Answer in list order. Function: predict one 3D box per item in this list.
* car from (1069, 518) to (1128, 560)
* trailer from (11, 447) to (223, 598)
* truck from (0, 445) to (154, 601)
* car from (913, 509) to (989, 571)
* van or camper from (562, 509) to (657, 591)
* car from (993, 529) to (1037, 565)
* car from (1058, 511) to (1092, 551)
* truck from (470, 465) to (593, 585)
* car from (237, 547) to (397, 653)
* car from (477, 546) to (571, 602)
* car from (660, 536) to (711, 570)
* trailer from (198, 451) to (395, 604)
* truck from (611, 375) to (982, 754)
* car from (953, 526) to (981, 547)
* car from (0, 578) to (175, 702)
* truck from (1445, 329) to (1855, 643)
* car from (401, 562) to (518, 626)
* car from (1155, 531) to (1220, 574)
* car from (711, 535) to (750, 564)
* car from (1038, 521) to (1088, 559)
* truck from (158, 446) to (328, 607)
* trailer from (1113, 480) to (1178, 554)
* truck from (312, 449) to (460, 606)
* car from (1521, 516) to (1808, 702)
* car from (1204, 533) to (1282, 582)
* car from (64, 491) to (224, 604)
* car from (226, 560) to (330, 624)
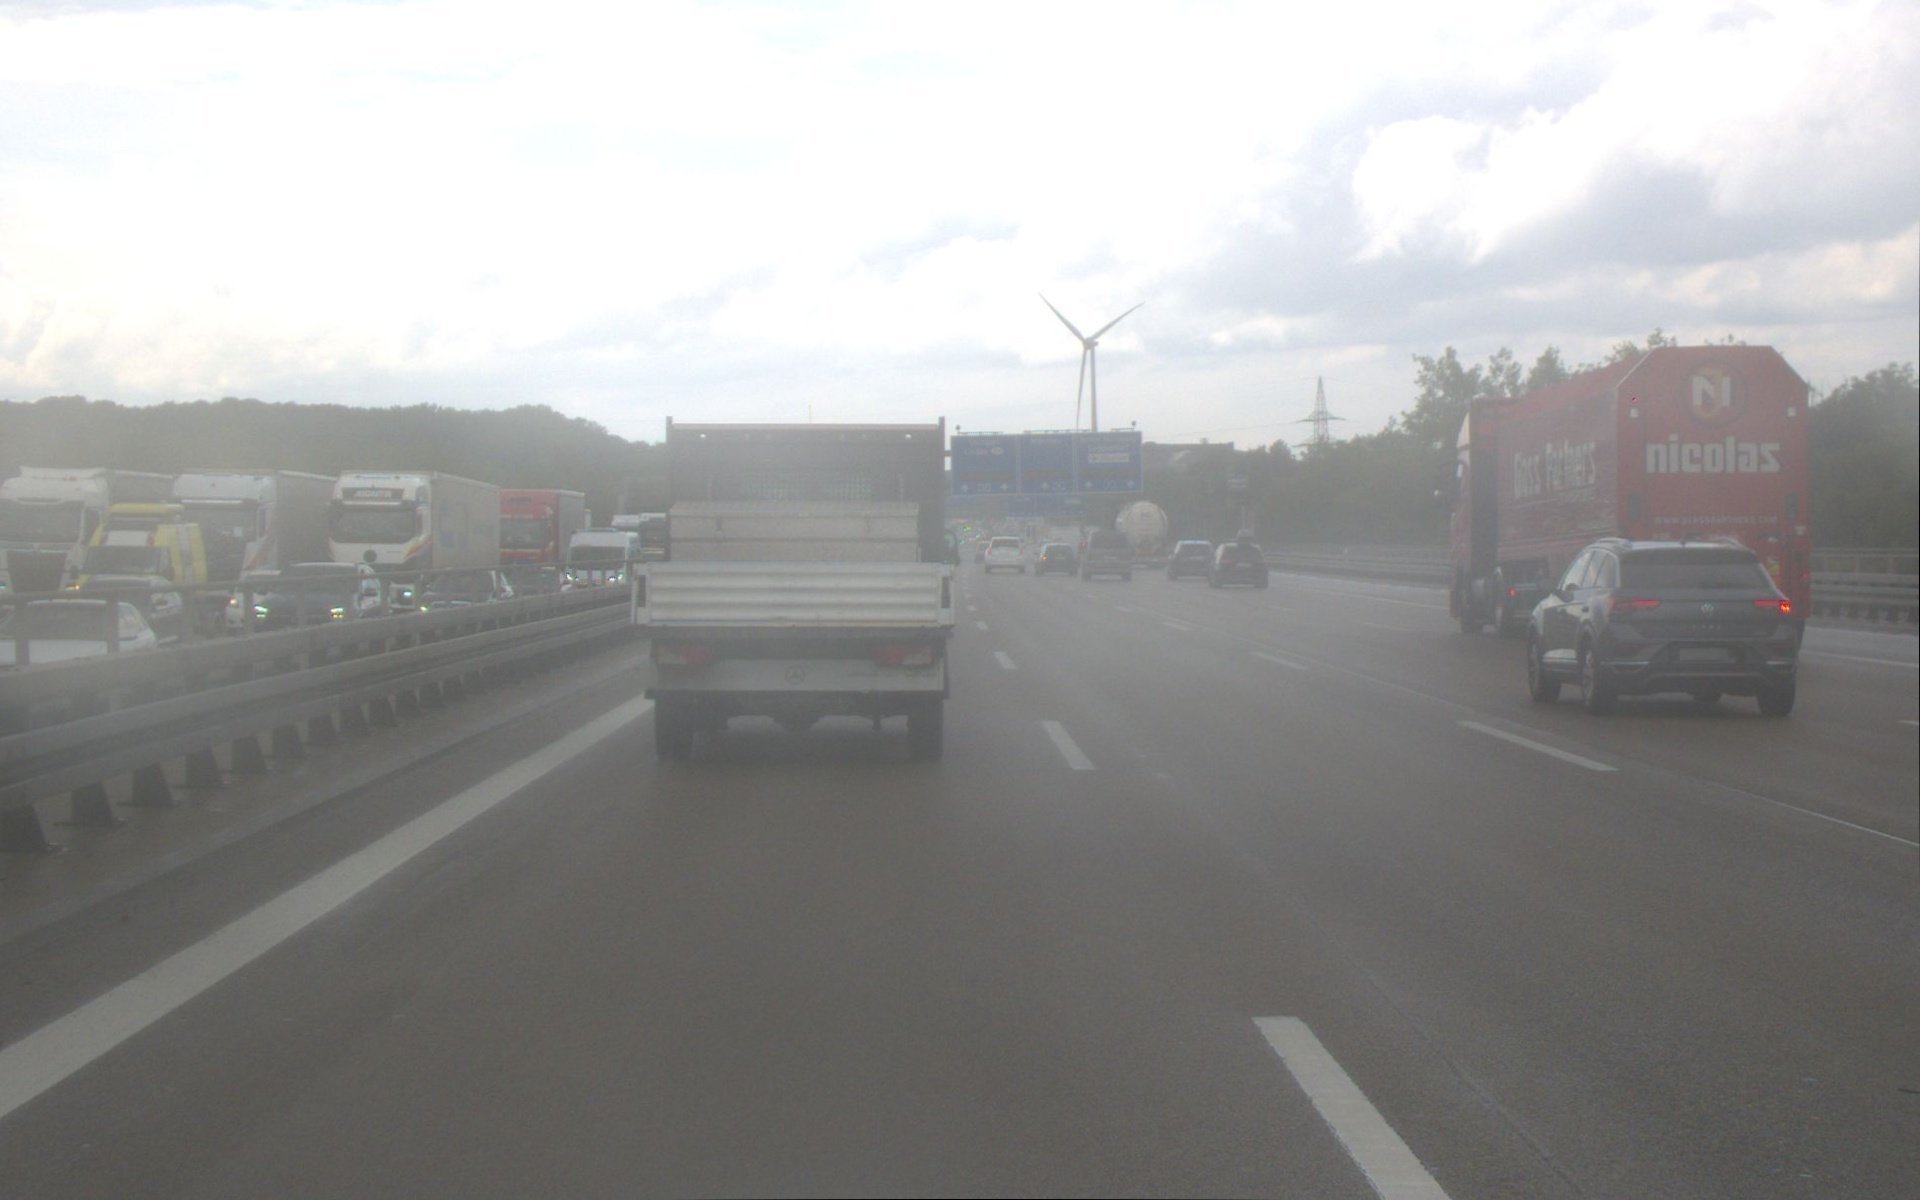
[{"bbox_3d":[5.595,-2.486,139.248,2.097,1.693,4.001,0,1,-2],"label":"car"},{"bbox_3d":[-23.777,-2.201,97.723,2.758,3.980,12.307,-1,1,1],"label":"trailer"},{"bbox_3d":[-23.861,-2.064,92.192,2.759,3.980,6.577,-1,1,1],"label":"truck"},{"bbox_3d":[-0.220,-1.681,96.098,2.045,1.693,4.000,0,1,1],"label":"car"},{"bbox_3d":[-11.121,-1.604,109.580,2.278,2.487,7.303,-1,1,-1],"label":"van or camper"},{"bbox_3d":[2.660,-2.596,167.024,1.972,1.693,4.001,0,1,-2],"label":"car"},{"bbox_3d":[7.231,-4.370,216.541,2.045,2.489,4.000,0,1,1],"label":"car"},{"bbox_3d":[-15.641,-2.743,126.440,2.984,4.134,12.524,-1,1,-1],"label":"truck"},{"bbox_3d":[-11.551,-0.043,62.113,1.913,1.760,5.332,-1,1,-1],"label":"car"},{"bbox_3d":[-11.846,-0.720,93.674,1.922,1.414,5.165,-1,1,-1],"label":"car"},{"bbox_3d":[-12.057,-2.067,151.310,1.832,1.447,4.000,-1,1,1],"label":"car"},{"bbox_3d":[-19.140,-2.110,100.130,2.880,4.131,13.029,-1,1,1],"label":"trailer"},{"bbox_3d":[-1.173,-0.317,25.635,2.353,2.400,7.359,0,1,-2],"label":"truck"},{"bbox_3d":[0.481,-4.553,245.539,1.812,1.441,4.001,-1,1,-2],"label":"car"},{"bbox_3d":[-11.152,0.459,42.891,1.762,1.378,4.821,-1,1,-2],"label":"car"},{"bbox_3d":[9.909,-1.655,51.686,3.152,3.989,15.637,0,1,1],"label":"truck"},{"bbox_3d":[-11.801,-0.170,81.405,2.014,1.382,5.460,-1,1,-1],"label":"car"},{"bbox_3d":[9.282,-1.947,140.704,2.045,1.693,5.008,0,1,-4],"label":"car"},{"bbox_3d":[-11.484,-2.545,172.341,1.573,1.349,4.384,-1,1,1],"label":"car"},{"bbox_3d":[4.667,-2.713,155.778,2.045,1.693,4.001,0,1,-1],"label":"car"},{"bbox_3d":[-19.302,-1.994,92.942,2.904,4.133,7.102,-1,1,1],"label":"truck"},{"bbox_3d":[10.679,-4.794,198.839,3.333,4.161,11.838,0,1,1],"label":"trailer"},{"bbox_3d":[-15.986,-2.024,96.240,2.880,4.166,7.558,-1,1,-1],"label":"truck"},{"bbox_3d":[6.209,0.046,30.694,1.792,1.557,3.722,0,1,0],"label":"car"},{"bbox_3d":[9.669,-1.461,117.801,2.105,1.600,5.066,0,1,-2],"label":"car"},{"bbox_3d":[-19.033,-1.254,80.544,2.156,2.496,6.773,-1,1,-1],"label":"car"},{"bbox_3d":[-15.679,-0.205,79.180,1.601,1.382,4.100,-1,1,-1],"label":"car"}]
